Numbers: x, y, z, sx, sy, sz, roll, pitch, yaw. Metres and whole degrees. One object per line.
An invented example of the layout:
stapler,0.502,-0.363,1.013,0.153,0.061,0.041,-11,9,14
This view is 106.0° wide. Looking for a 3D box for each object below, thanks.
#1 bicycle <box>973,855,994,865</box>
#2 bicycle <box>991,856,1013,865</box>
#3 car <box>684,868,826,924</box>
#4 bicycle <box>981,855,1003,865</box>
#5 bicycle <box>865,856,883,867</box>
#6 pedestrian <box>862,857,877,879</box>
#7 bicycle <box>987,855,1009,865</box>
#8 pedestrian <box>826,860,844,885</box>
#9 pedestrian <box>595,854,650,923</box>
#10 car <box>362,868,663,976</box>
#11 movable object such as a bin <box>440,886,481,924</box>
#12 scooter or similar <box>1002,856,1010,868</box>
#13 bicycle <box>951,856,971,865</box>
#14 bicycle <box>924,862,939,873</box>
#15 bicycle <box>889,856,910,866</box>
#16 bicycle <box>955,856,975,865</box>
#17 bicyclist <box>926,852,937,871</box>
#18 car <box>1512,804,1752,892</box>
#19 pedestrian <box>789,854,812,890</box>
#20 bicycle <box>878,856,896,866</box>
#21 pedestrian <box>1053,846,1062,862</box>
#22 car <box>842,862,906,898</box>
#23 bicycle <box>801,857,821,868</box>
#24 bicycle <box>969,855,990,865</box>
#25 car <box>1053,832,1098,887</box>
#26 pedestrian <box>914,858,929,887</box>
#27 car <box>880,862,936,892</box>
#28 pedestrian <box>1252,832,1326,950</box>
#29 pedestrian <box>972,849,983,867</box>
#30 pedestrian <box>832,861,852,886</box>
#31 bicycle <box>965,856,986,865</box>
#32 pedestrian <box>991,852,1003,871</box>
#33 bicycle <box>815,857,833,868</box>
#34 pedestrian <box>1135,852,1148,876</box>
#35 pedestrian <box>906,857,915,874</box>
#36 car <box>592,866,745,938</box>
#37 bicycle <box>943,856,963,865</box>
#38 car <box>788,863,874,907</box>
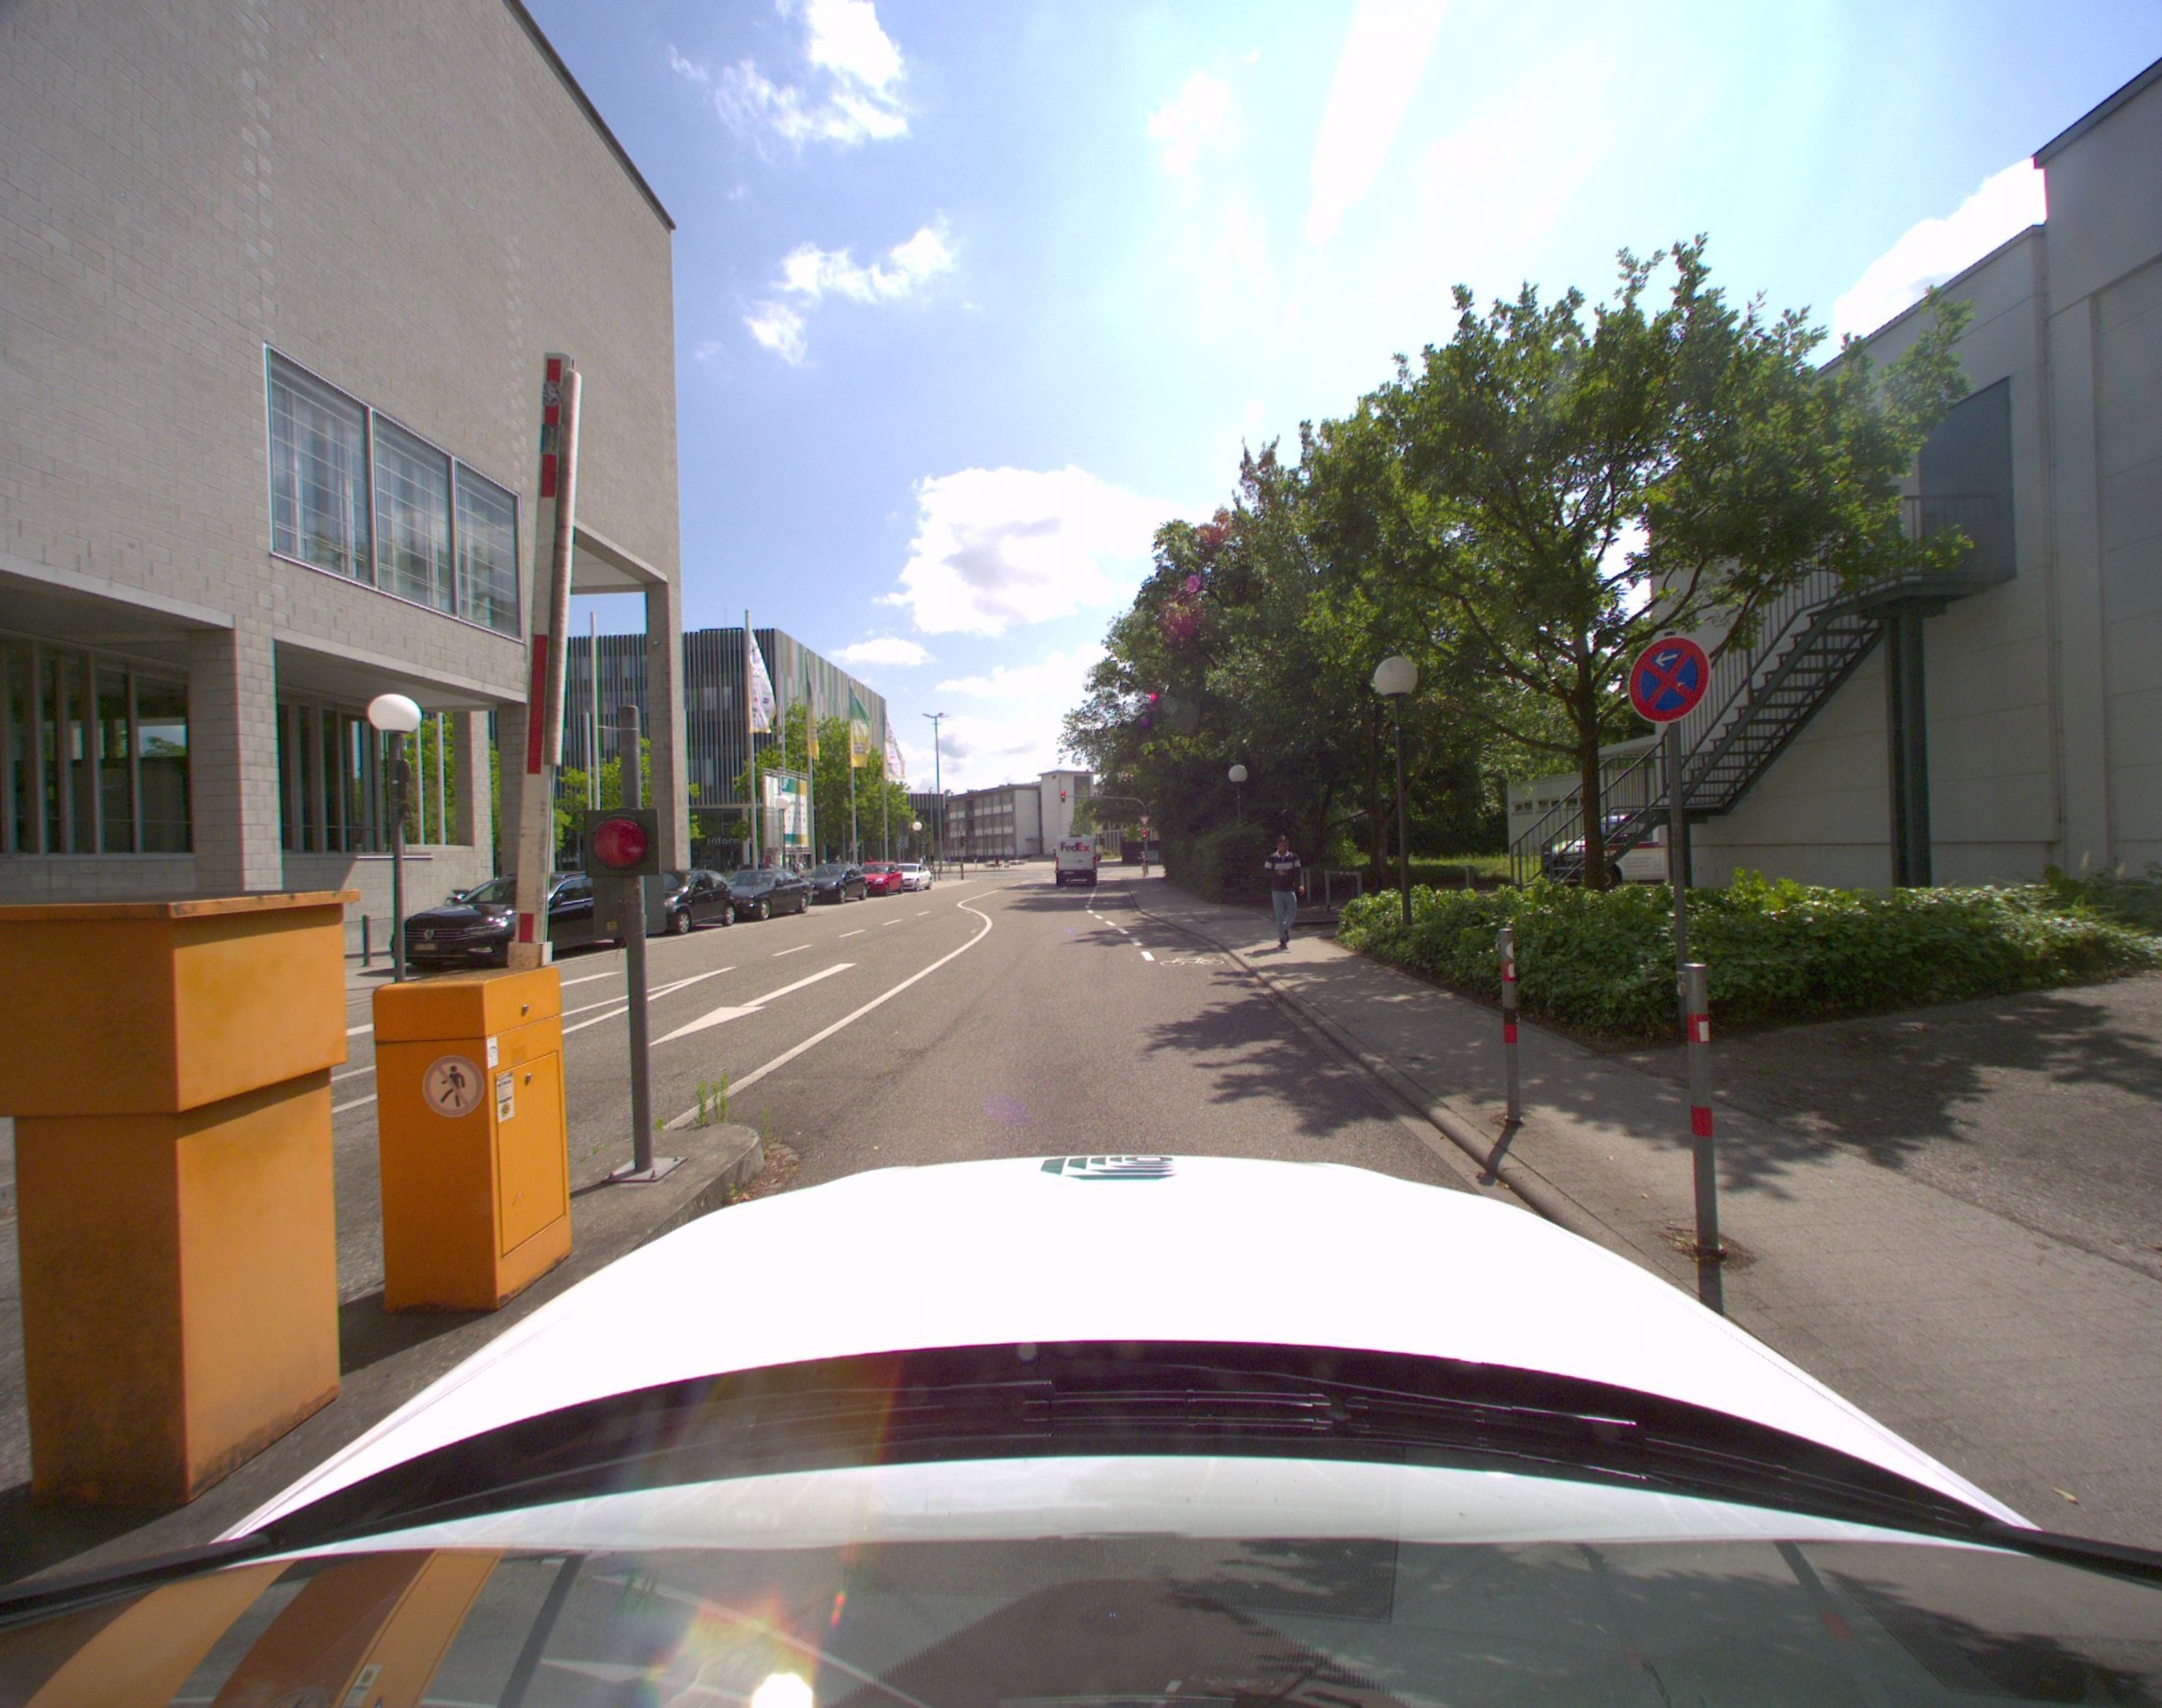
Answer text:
bicycle,-14.908,0.901,124.283,2.978,1.363,1.105,-1,0,-36
bicycle,-11.613,0.973,119.661,2.978,1.363,1.105,-1,0,-36
car,-9.342,1.144,23.871,1.851,1.378,5.021,0,0,4
bicycle,-13.316,0.904,122.066,2.978,1.363,1.262,-1,0,-36
bicycle,-25.212,0.905,99.004,1.206,1.237,2.919,-1,0,-35
pedestrian,-15.390,1.015,59.241,0.767,1.598,0.799,-2,0,3
bicycle,-12.316,0.883,120.778,2.978,1.363,1.105,-1,0,-36
pedestrian,-18.961,1.420,62.779,0.845,1.876,1.012,-2,0,24
pedestrian,-13.771,1.010,24.498,0.981,2.013,1.164,-2,0,-2
car,-9.540,1.037,14.289,1.852,1.467,4.720,0,0,2
movable object such as a bin,-15.996,1.316,21.012,0.573,0.930,0.596,-1,0,2
scooter or similar,-8.055,0.845,87.202,0.716,1.178,2.717,-2,0,-9
bicycle,-19.286,1.033,130.904,2.978,1.363,1.105,-1,0,-36
bicycle,-15.374,1.376,83.920,0.765,1.122,2.033,-2,0,12
bicycle,-22.527,0.842,100.998,1.208,1.237,2.915,-1,0,-44
bicycle,-18.441,1.014,129.400,2.978,1.363,1.105,-1,0,-36
bicyclist,-15.381,0.768,83.895,0.784,1.817,1.002,-2,0,11
car,14.189,-0.152,21.216,4.806,2.013,2.063,-2,0,2
pedestrian,-14.561,0.909,42.245,0.716,1.851,1.090,0,0,5
bicycle,-23.938,0.888,100.429,1.206,1.237,2.919,-1,0,-35
pedestrian,-2.744,0.001,94.819,0.867,1.889,0.907,-2,0,-18
car,-9.155,1.119,36.330,1.670,1.467,3.913,0,0,3
bicycle,-31.207,1.035,94.108,1.383,1.237,2.920,-1,0,-34
bicycle,-15.659,0.920,125.358,2.978,1.363,1.105,-1,0,-36
car,-0.199,0.245,41.910,2.087,2.566,5.604,-2,0,1
pedestrian,-10.384,1.213,53.079,0.716,1.859,0.771,-2,0,3
car,-8.746,1.130,41.615,1.670,1.395,4.665,0,0,3
pedestrian,3.134,0.536,12.363,0.737,1.674,1.256,-2,0,-1
pedestrian,-11.454,0.455,89.958,0.698,1.855,1.403,-2,2,11
pedestrian,-18.134,1.453,61.847,0.853,1.819,1.102,-2,0,25
bicycle,-16.389,0.964,126.429,2.978,1.363,1.105,-1,0,-36
pedestrian,-8.674,0.788,84.413,1.077,1.870,0.832,-2,0,0
bicycle,-29.930,0.975,94.887,1.206,1.237,2.920,-1,0,-34
pedestrian,3.933,0.651,52.711,0.729,1.576,0.775,-1,0,-3
pedestrian,-17.137,1.141,81.958,0.751,1.678,0.755,-2,0,-1
car,-9.590,1.047,19.287,1.632,1.467,3.708,0,0,2
bicycle,-21.015,1.058,133.968,2.978,1.363,1.105,-1,0,-36
car,-9.367,1.122,30.896,1.740,1.467,4.200,0,0,4
